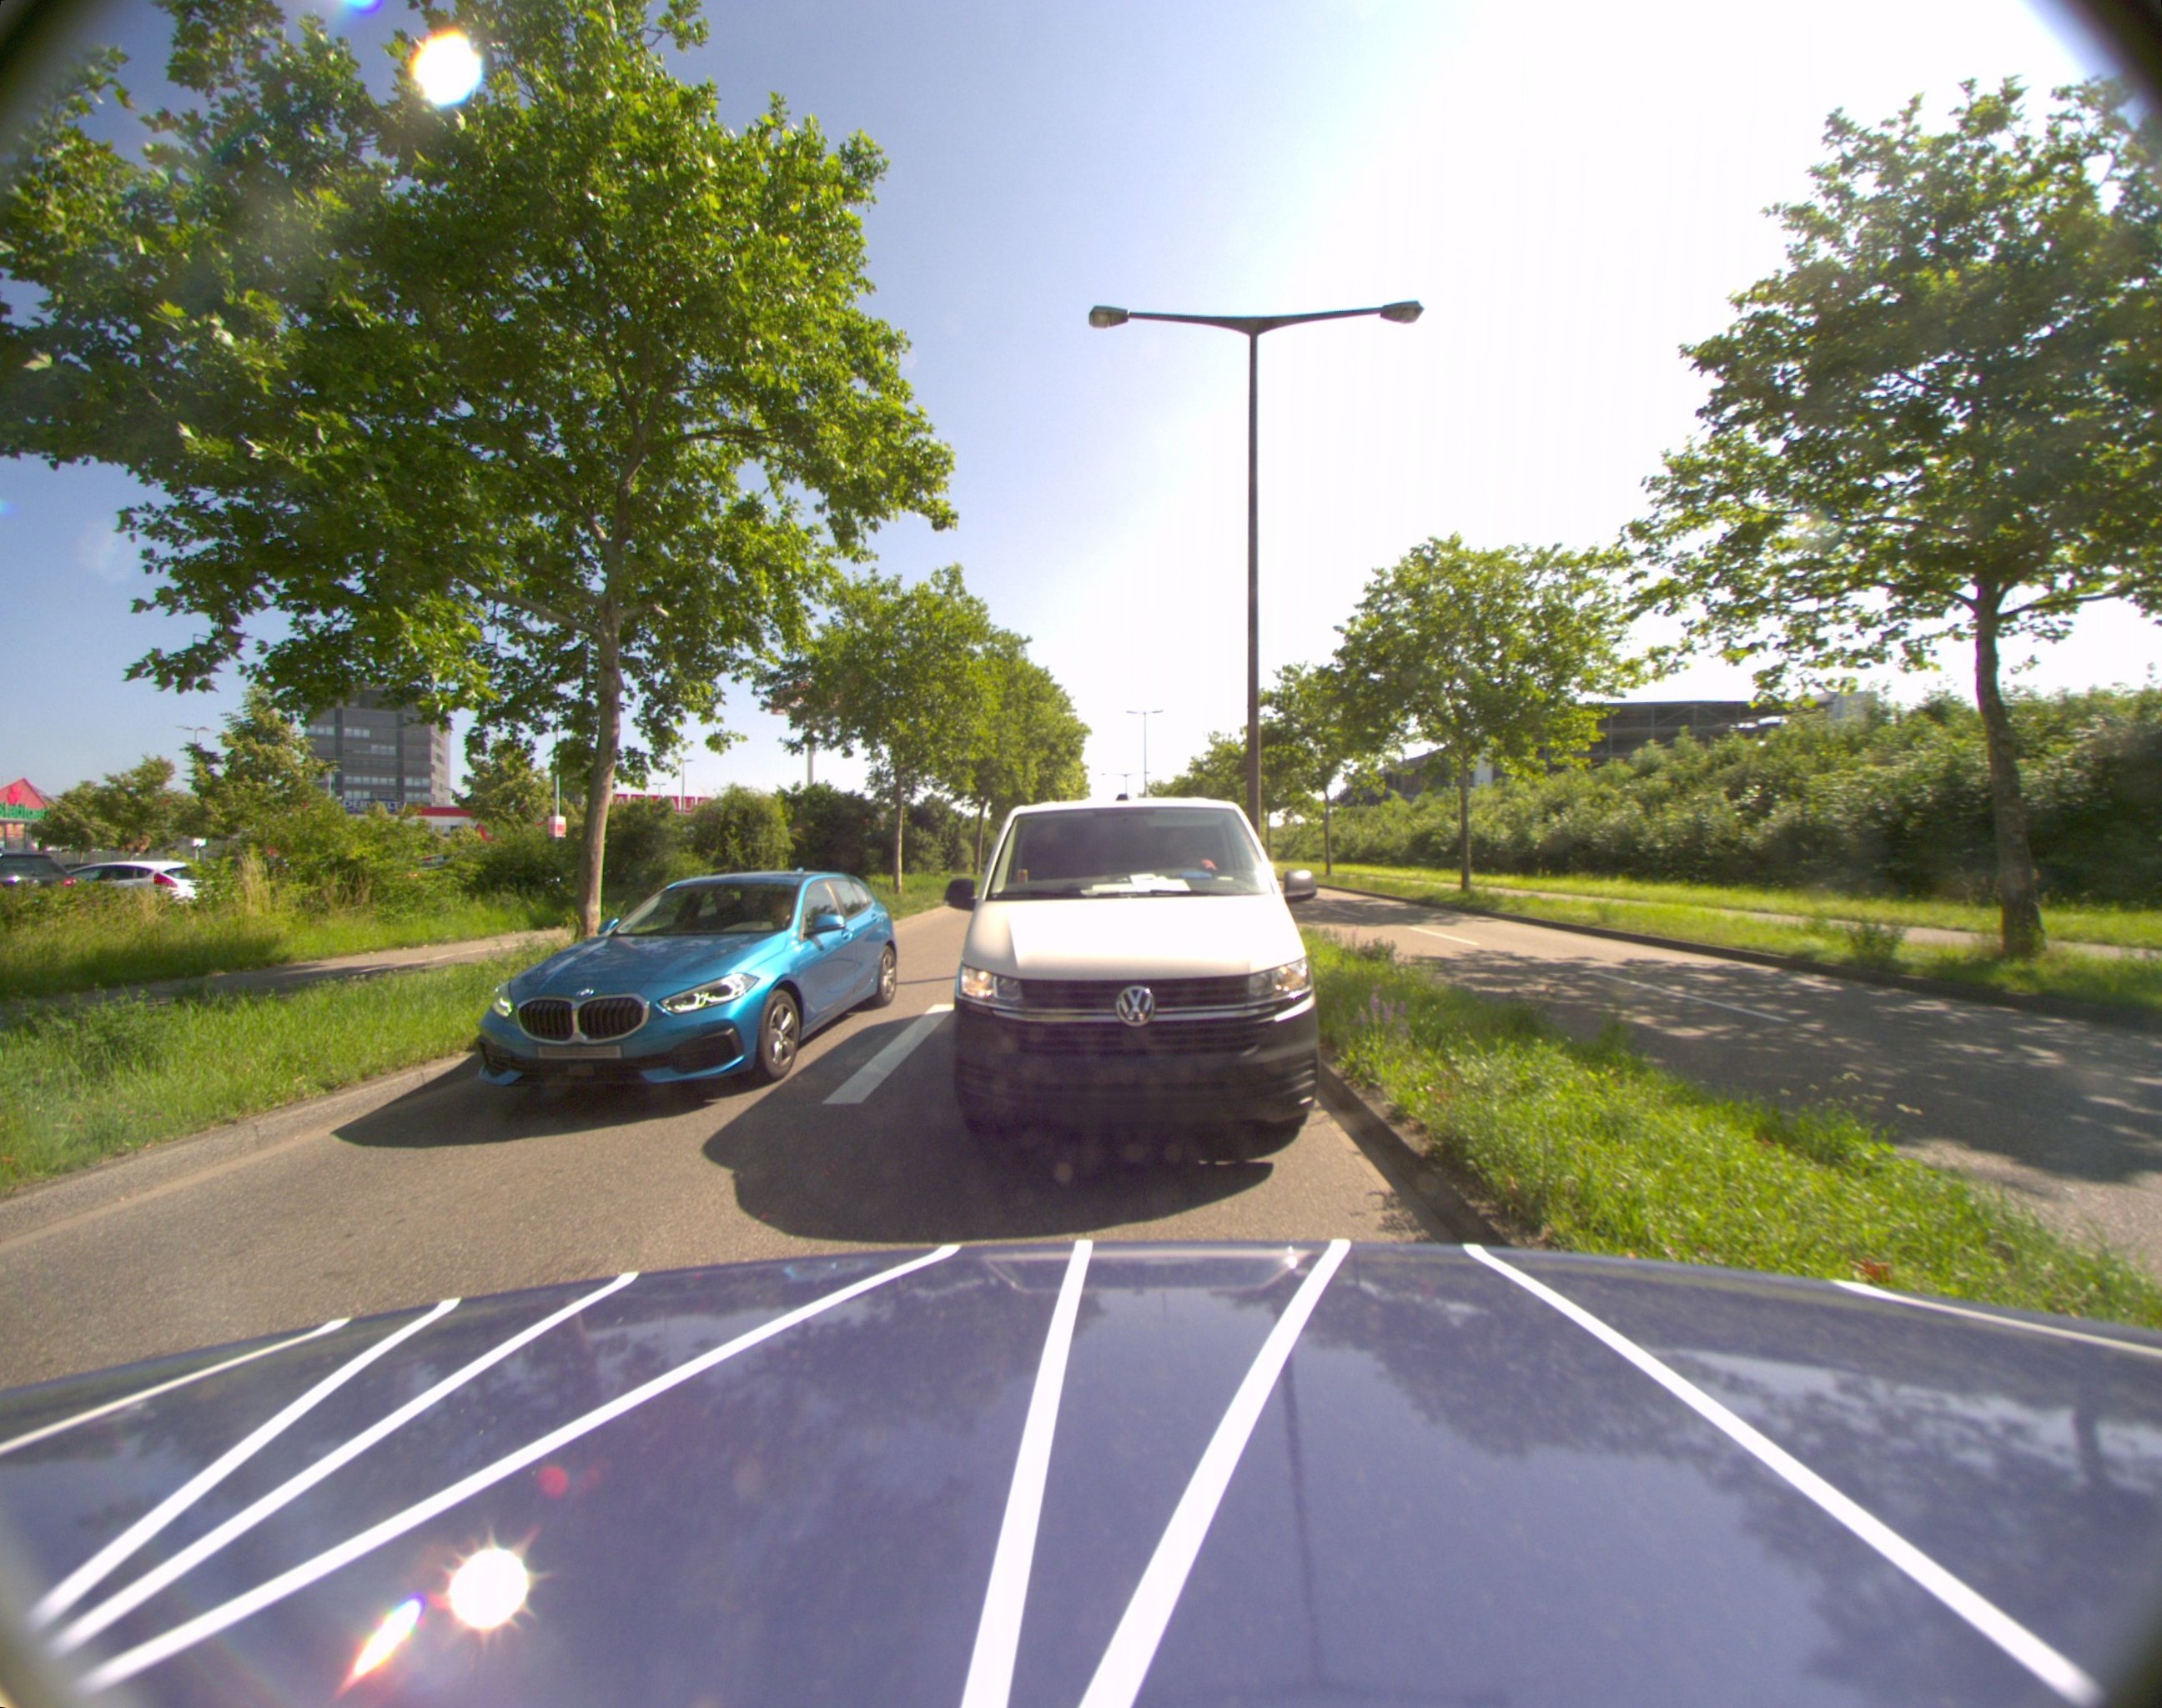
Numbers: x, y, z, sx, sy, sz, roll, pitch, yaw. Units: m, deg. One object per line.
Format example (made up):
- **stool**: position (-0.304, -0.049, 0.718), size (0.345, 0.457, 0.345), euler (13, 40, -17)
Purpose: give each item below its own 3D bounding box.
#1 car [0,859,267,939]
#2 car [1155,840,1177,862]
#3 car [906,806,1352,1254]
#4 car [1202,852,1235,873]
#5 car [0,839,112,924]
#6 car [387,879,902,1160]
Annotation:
- **car**: position (-22.132, 0.994, 17.719), size (4.083, 1.582, 1.880), euler (-2, 1, -2)
- **car**: position (10.374, -0.386, 92.919), size (1.998, 2.647, 5.786), euler (1, 1, 1)
- **car**: position (0.235, 0.730, 5.655), size (1.872, 1.889, 4.881), euler (0, 1, 1)
- **car**: position (9.901, 0.607, 54.894), size (1.704, 1.499, 4.000), euler (0, 0, 1)
- **car**: position (-22.154, 0.581, 14.725), size (4.083, 1.582, 1.880), euler (-2, 1, -2)
- **car**: position (-2.960, 1.012, 6.370), size (1.872, 1.412, 4.130), euler (0, 1, 1)
